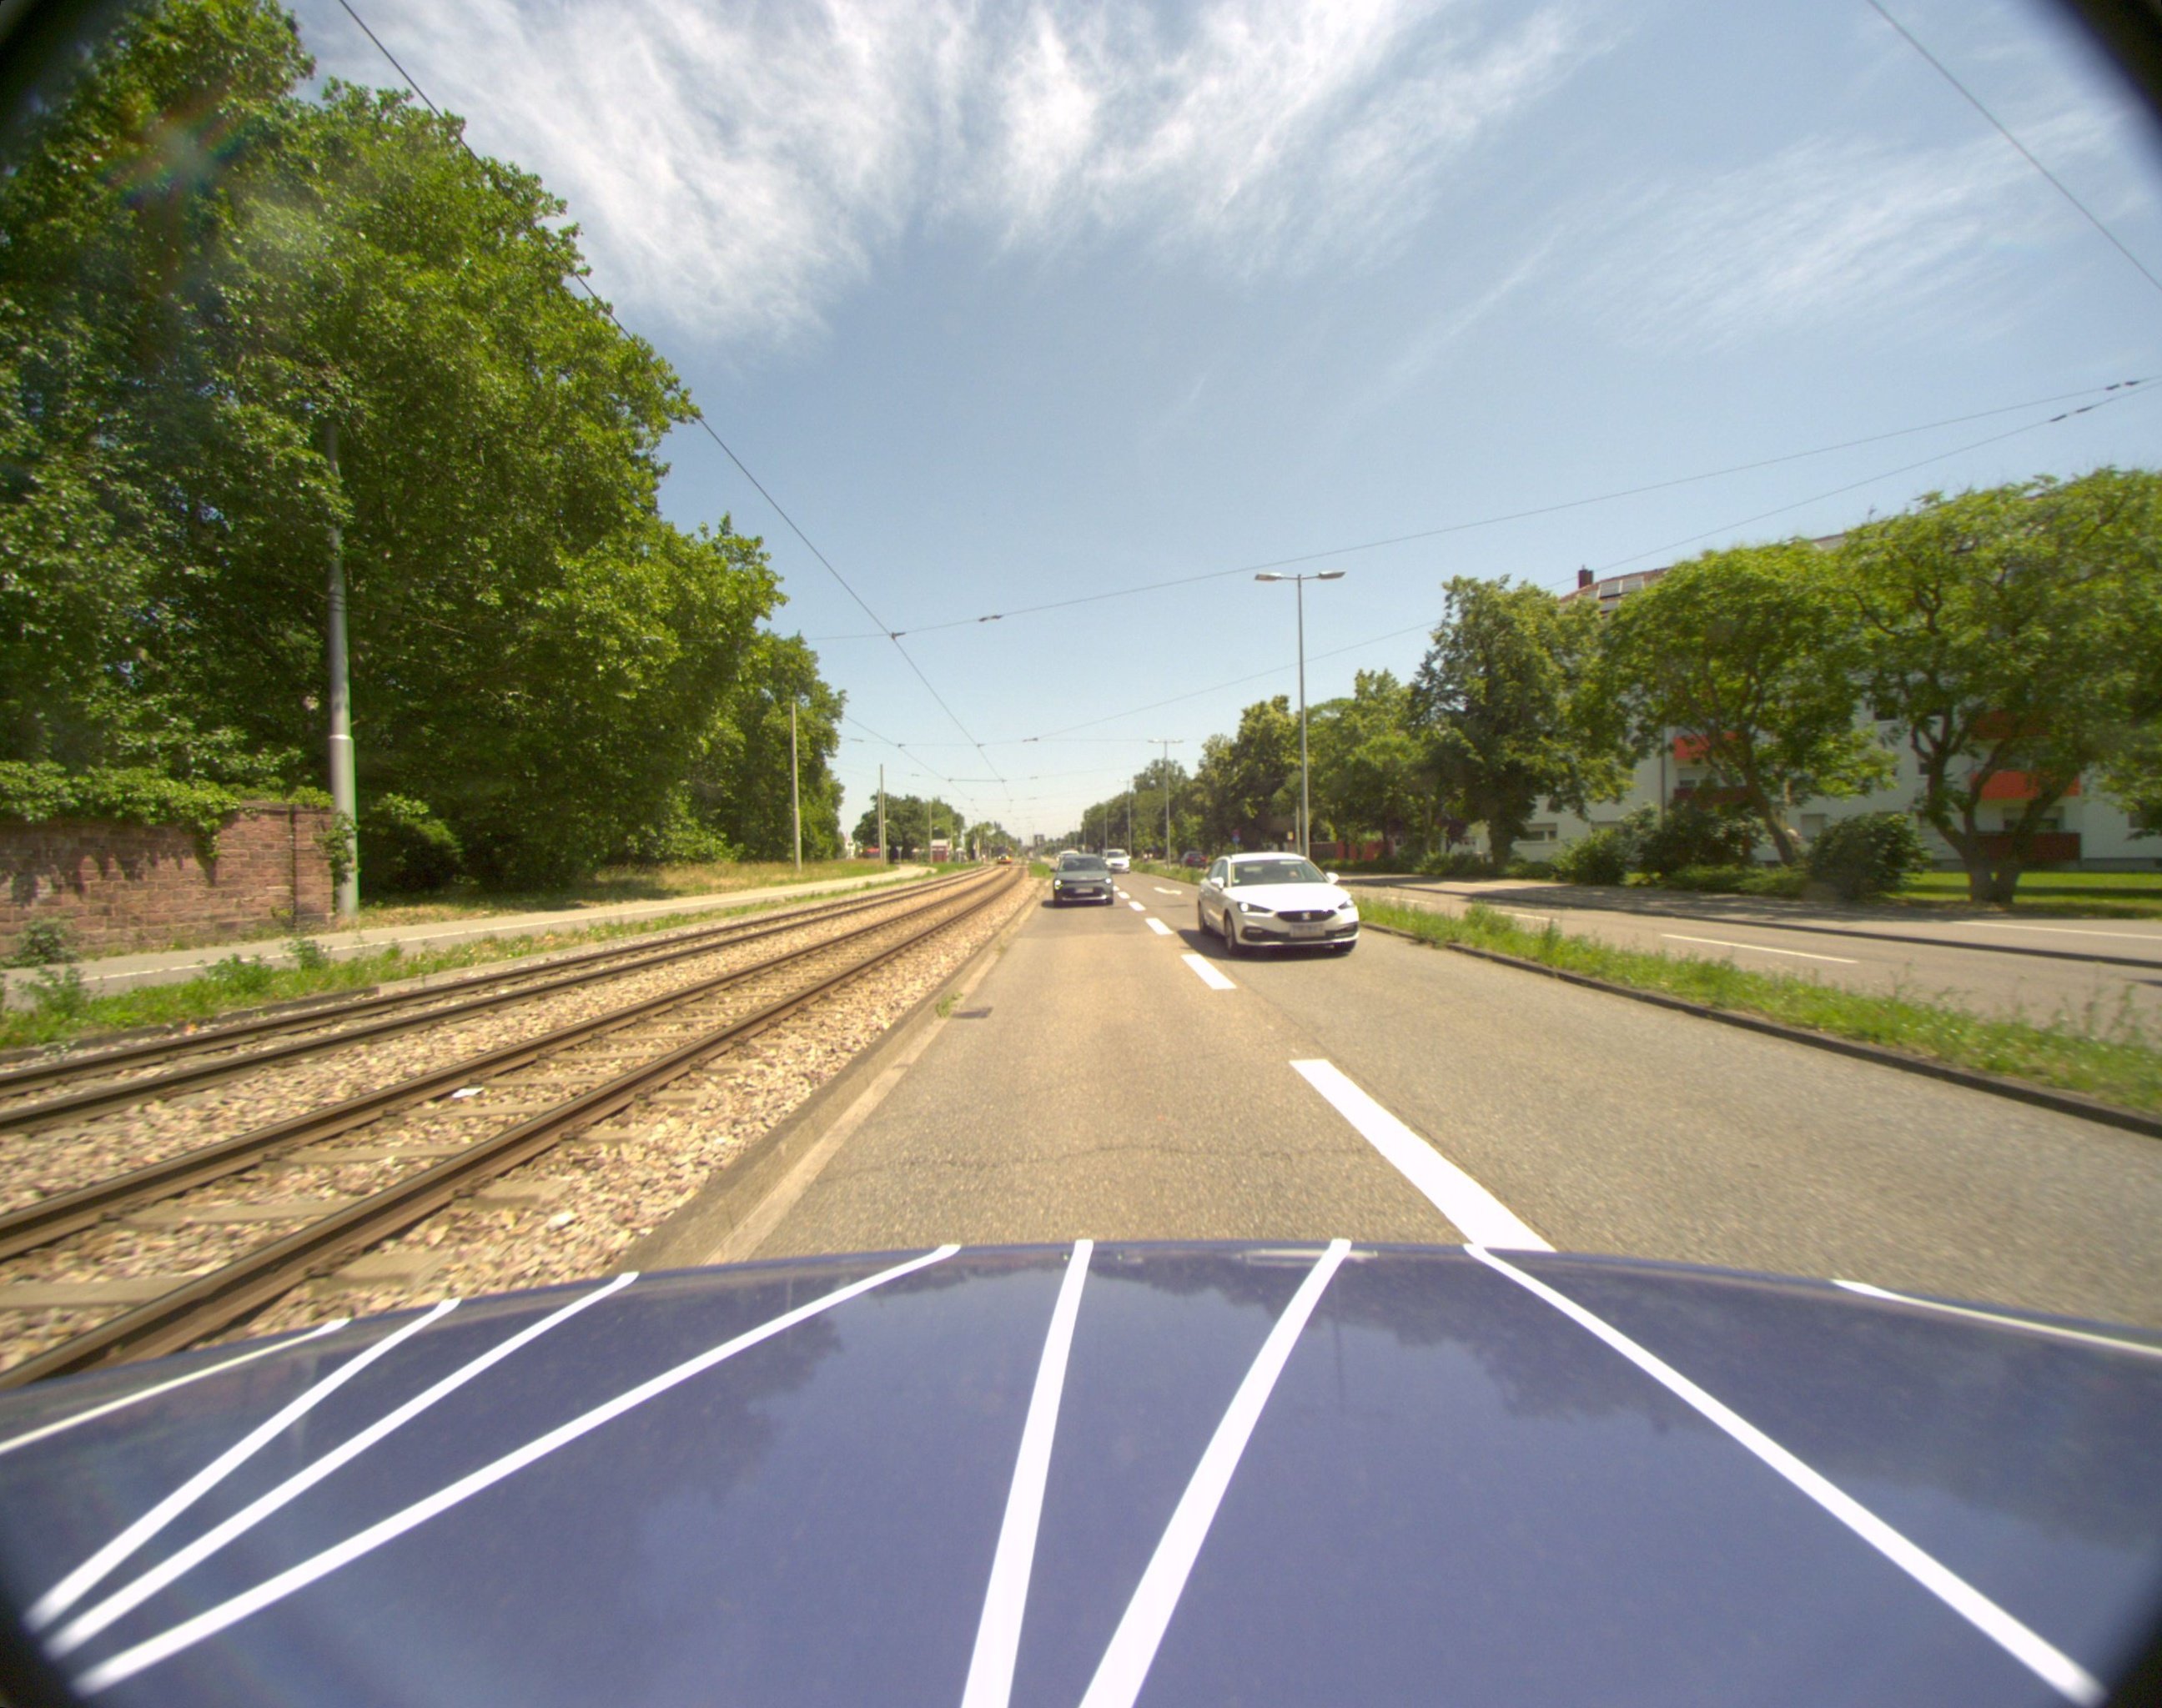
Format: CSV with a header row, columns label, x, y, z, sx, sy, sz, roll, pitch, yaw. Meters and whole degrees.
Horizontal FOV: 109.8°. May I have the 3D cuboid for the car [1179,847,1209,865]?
label,x,y,z,sx,sy,sz,roll,pitch,yaw
car,10.559,0.199,71.308,1.928,1.616,4.755,0,1,-1

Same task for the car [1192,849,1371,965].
label,x,y,z,sx,sy,sz,roll,pitch,yaw
car,2.937,0.681,12.039,1.772,1.460,4.111,-2,0,1

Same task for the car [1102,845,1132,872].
label,x,y,z,sx,sy,sz,roll,pitch,yaw
car,2.790,0.296,59.014,1.999,2.002,3.999,-1,0,-2

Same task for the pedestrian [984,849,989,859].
label,x,y,z,sx,sy,sz,roll,pitch,yaw
pedestrian,-16.723,-0.045,134.691,0.637,1.749,0.815,-3,2,-17

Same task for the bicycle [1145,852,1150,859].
label,x,y,z,sx,sy,sz,roll,pitch,yaw
bicycle,11.402,0.258,129.781,0.590,1.126,1.615,-1,0,-3

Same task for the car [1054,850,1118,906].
label,x,y,z,sx,sy,sz,roll,pitch,yaw
car,0.087,0.687,24.054,1.788,1.554,4.134,-3,0,-1

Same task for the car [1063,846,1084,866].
label,x,y,z,sx,sy,sz,roll,pitch,yaw
car,-0.791,0.185,78.312,1.922,2.002,3.998,-1,0,-4

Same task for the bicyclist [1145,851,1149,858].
label,x,y,z,sx,sy,sz,roll,pitch,yaw
bicyclist,11.373,0.082,130.124,0.546,1.338,0.755,-1,1,-4

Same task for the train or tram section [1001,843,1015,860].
label,x,y,z,sx,sy,sz,roll,pitch,yaw
train or tram section,-14.640,-0.576,152.923,2.525,3.303,7.258,-1,0,-3
